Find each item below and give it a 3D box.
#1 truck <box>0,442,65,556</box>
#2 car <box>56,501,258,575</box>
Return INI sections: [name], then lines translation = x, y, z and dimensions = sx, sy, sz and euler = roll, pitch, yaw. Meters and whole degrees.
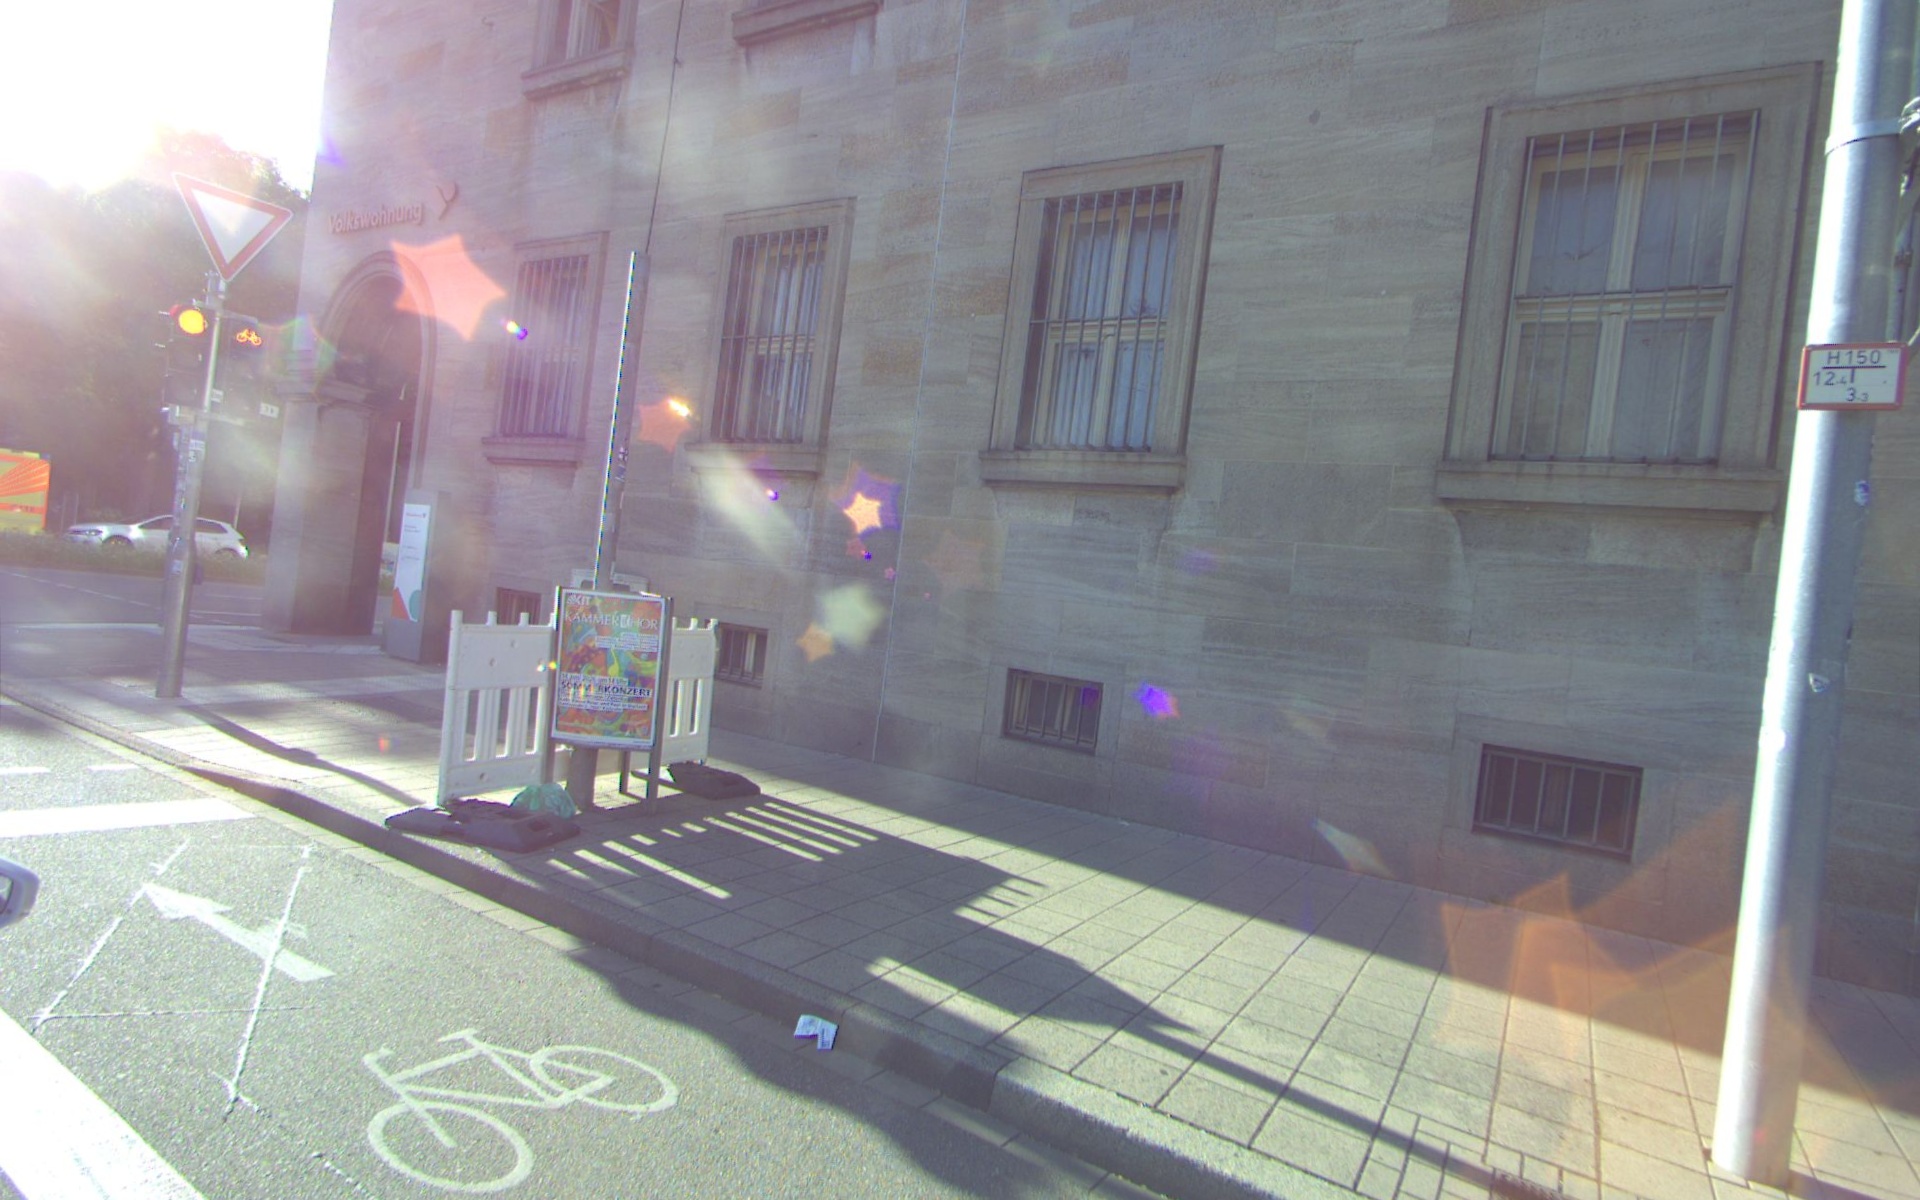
[truck]
translation = -29.040, -3.195, 27.247
dimensions = 2.680, 3.052, 6.478
euler = 7, -1, 32
[car]
translation = -22.422, -1.697, 28.265
dimensions = 1.604, 1.451, 4.049
euler = 6, -1, 30
